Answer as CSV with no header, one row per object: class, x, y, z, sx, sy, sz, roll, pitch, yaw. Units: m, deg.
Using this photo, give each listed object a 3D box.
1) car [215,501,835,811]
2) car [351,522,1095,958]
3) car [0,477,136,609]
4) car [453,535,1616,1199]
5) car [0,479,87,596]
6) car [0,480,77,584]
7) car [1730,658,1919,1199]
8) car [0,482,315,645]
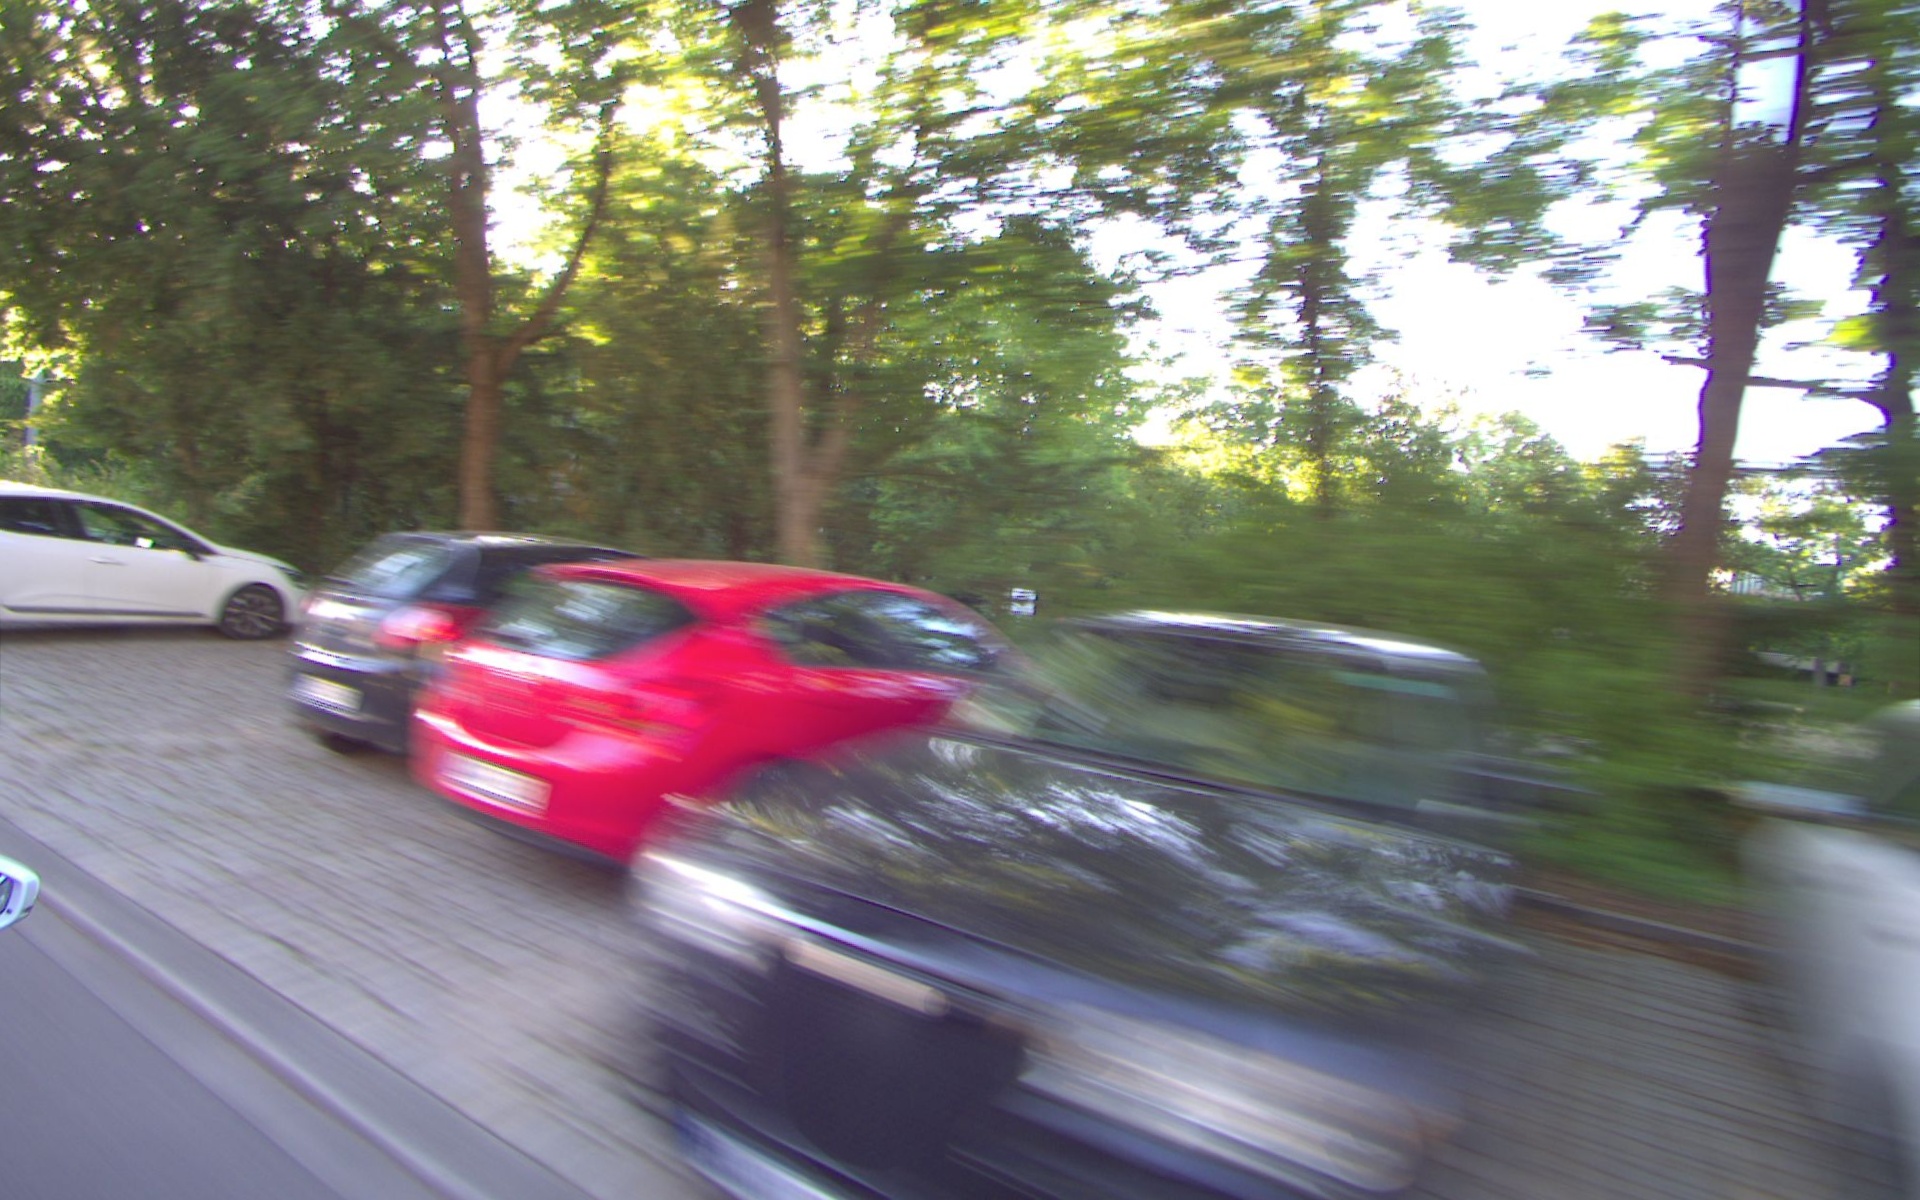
car,-2.799,0.306,7.355,1.794,1.530,3.812,7,2,28
car,-0.945,0.534,5.691,1.846,1.468,3.808,7,2,32
car,-13.480,-0.890,12.952,1.727,1.644,3.995,7,0,27
car,0.854,0.755,3.517,1.987,1.468,4.246,7,2,29
car,-15.298,-1.088,14.243,1.727,1.644,3.995,7,0,27
car,-17.085,-1.306,16.107,1.727,1.644,3.995,7,0,27
car,3.560,1.025,2.893,1.797,1.468,3.806,7,2,35
car,-9.092,-0.392,10.235,1.794,1.468,3.812,7,2,28
